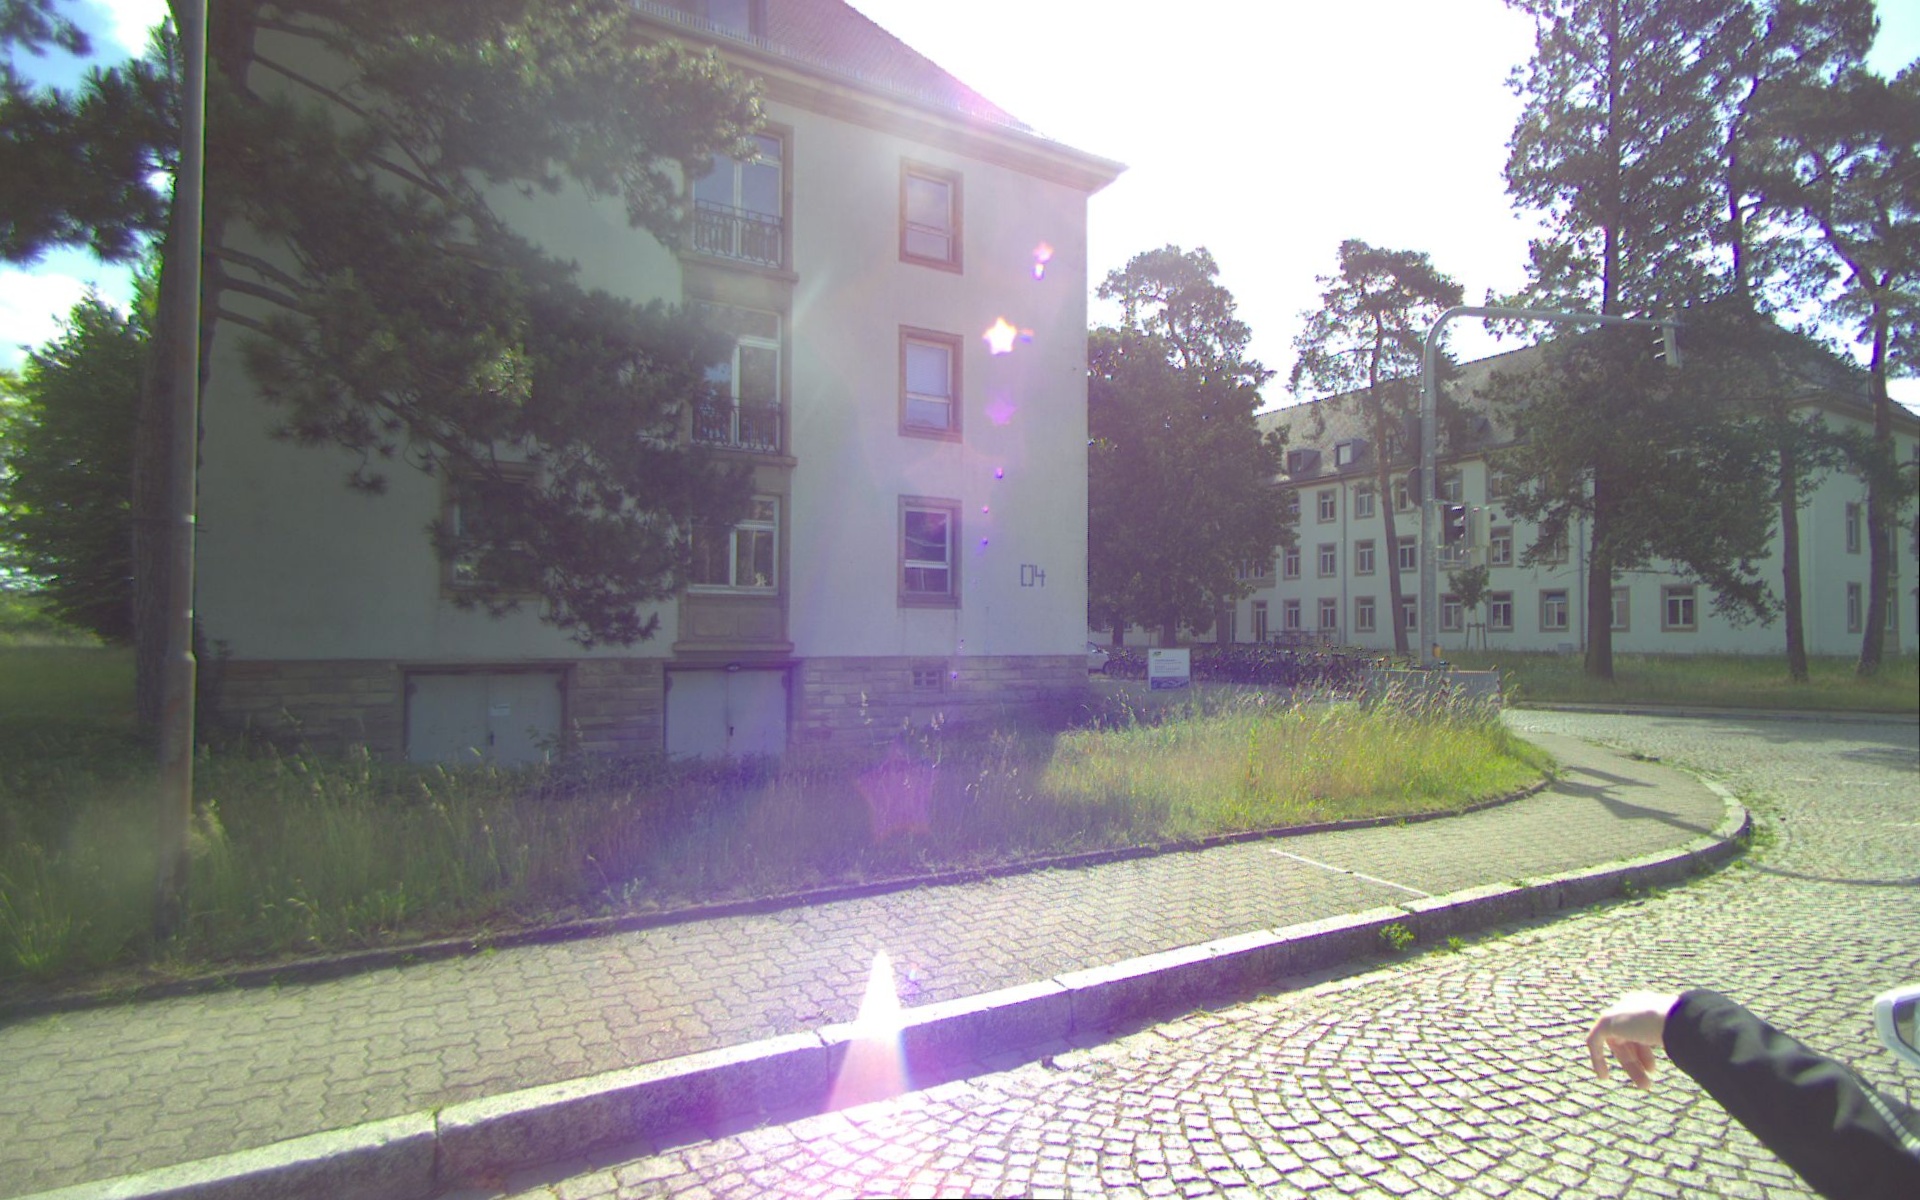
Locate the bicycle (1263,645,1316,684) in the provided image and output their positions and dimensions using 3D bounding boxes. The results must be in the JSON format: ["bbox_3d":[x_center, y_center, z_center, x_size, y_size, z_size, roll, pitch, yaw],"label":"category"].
[{"bbox_3d":[10.747,2.099,32.760,1.954,1.236,0.511,1,-2,-31],"label":"bicycle"}]

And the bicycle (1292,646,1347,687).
[{"bbox_3d":[11.375,2.091,31.779,1.993,1.236,0.511,1,-2,-31],"label":"bicycle"}]

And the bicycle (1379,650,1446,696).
[{"bbox_3d":[12.705,2.033,28.174,2.090,1.236,0.630,1,-2,-31],"label":"bicycle"}]

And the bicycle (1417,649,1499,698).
[{"bbox_3d":[13.348,1.951,26.975,0.627,1.236,1.935,1,-2,-30],"label":"bicycle"}]

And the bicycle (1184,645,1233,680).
[{"bbox_3d":[8.894,2.230,35.980,1.915,1.236,0.511,1,-2,-31],"label":"bicycle"}]

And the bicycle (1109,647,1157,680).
[{"bbox_3d":[6.523,2.388,37.925,1.792,1.236,0.516,0,-2,6],"label":"bicycle"}]

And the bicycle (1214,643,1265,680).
[{"bbox_3d":[9.653,2.121,34.688,1.915,1.236,0.511,1,-2,-31],"label":"bicycle"}]

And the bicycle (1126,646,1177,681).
[{"bbox_3d":[7.032,2.334,36.935,1.794,1.236,0.515,-1,-2,24],"label":"bicycle"}]

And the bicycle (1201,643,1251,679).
[{"bbox_3d":[9.338,2.127,35.209,1.915,1.236,0.511,1,-2,-31],"label":"bicycle"}]

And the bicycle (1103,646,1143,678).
[{"bbox_3d":[6.394,2.408,39.425,1.815,1.236,0.509,2,-3,-42],"label":"bicycle"}]

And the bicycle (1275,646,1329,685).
[{"bbox_3d":[11.011,2.097,32.315,1.954,1.236,0.511,1,-2,-31],"label":"bicycle"}]

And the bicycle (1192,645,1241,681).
[{"bbox_3d":[9.109,2.225,35.609,1.915,1.236,0.511,1,-2,-31],"label":"bicycle"}]

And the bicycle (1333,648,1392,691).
[{"bbox_3d":[12.058,2.064,30.052,1.967,1.236,0.569,1,-2,-31],"label":"bicycle"}]

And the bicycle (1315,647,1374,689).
[{"bbox_3d":[11.793,2.078,30.765,2.006,1.236,0.576,1,-2,-31],"label":"bicycle"}]

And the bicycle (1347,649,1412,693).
[{"bbox_3d":[12.160,2.046,29.114,2.080,1.236,0.630,1,-2,-31],"label":"bicycle"}]

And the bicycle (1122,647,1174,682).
[{"bbox_3d":[6.803,2.324,36.328,1.794,1.236,0.515,-1,-2,24],"label":"bicycle"}]

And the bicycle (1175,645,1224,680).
[{"bbox_3d":[8.676,2.235,36.371,1.915,1.236,0.511,1,-2,-31],"label":"bicycle"}]

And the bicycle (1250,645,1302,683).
[{"bbox_3d":[10.457,2.101,33.197,1.932,1.236,0.511,1,-2,-31],"label":"bicycle"}]

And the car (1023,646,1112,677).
[{"bbox_3d":[4.571,2.581,42.558,3.550,1.227,1.504,1,-3,-29],"label":"car"}]

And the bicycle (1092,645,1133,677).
[{"bbox_3d":[6.077,2.414,39.940,1.813,1.236,0.510,2,-3,-39],"label":"bicycle"}]

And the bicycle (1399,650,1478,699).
[{"bbox_3d":[12.694,1.957,26.696,0.627,1.236,1.853,1,-2,-30],"label":"bicycle"}]

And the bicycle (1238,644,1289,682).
[{"bbox_3d":[10.189,2.107,33.683,1.915,1.236,0.511,1,-2,-31],"label":"bicycle"}]

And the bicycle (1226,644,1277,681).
[{"bbox_3d":[9.934,2.114,34.166,1.915,1.236,0.511,1,-2,-31],"label":"bicycle"}]

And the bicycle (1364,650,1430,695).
[{"bbox_3d":[12.456,2.039,28.588,2.100,1.236,0.630,1,-2,-31],"label":"bicycle"}]

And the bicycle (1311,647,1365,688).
[{"bbox_3d":[11.863,2.091,31.478,1.878,1.236,0.545,1,-2,-31],"label":"bicycle"}]
